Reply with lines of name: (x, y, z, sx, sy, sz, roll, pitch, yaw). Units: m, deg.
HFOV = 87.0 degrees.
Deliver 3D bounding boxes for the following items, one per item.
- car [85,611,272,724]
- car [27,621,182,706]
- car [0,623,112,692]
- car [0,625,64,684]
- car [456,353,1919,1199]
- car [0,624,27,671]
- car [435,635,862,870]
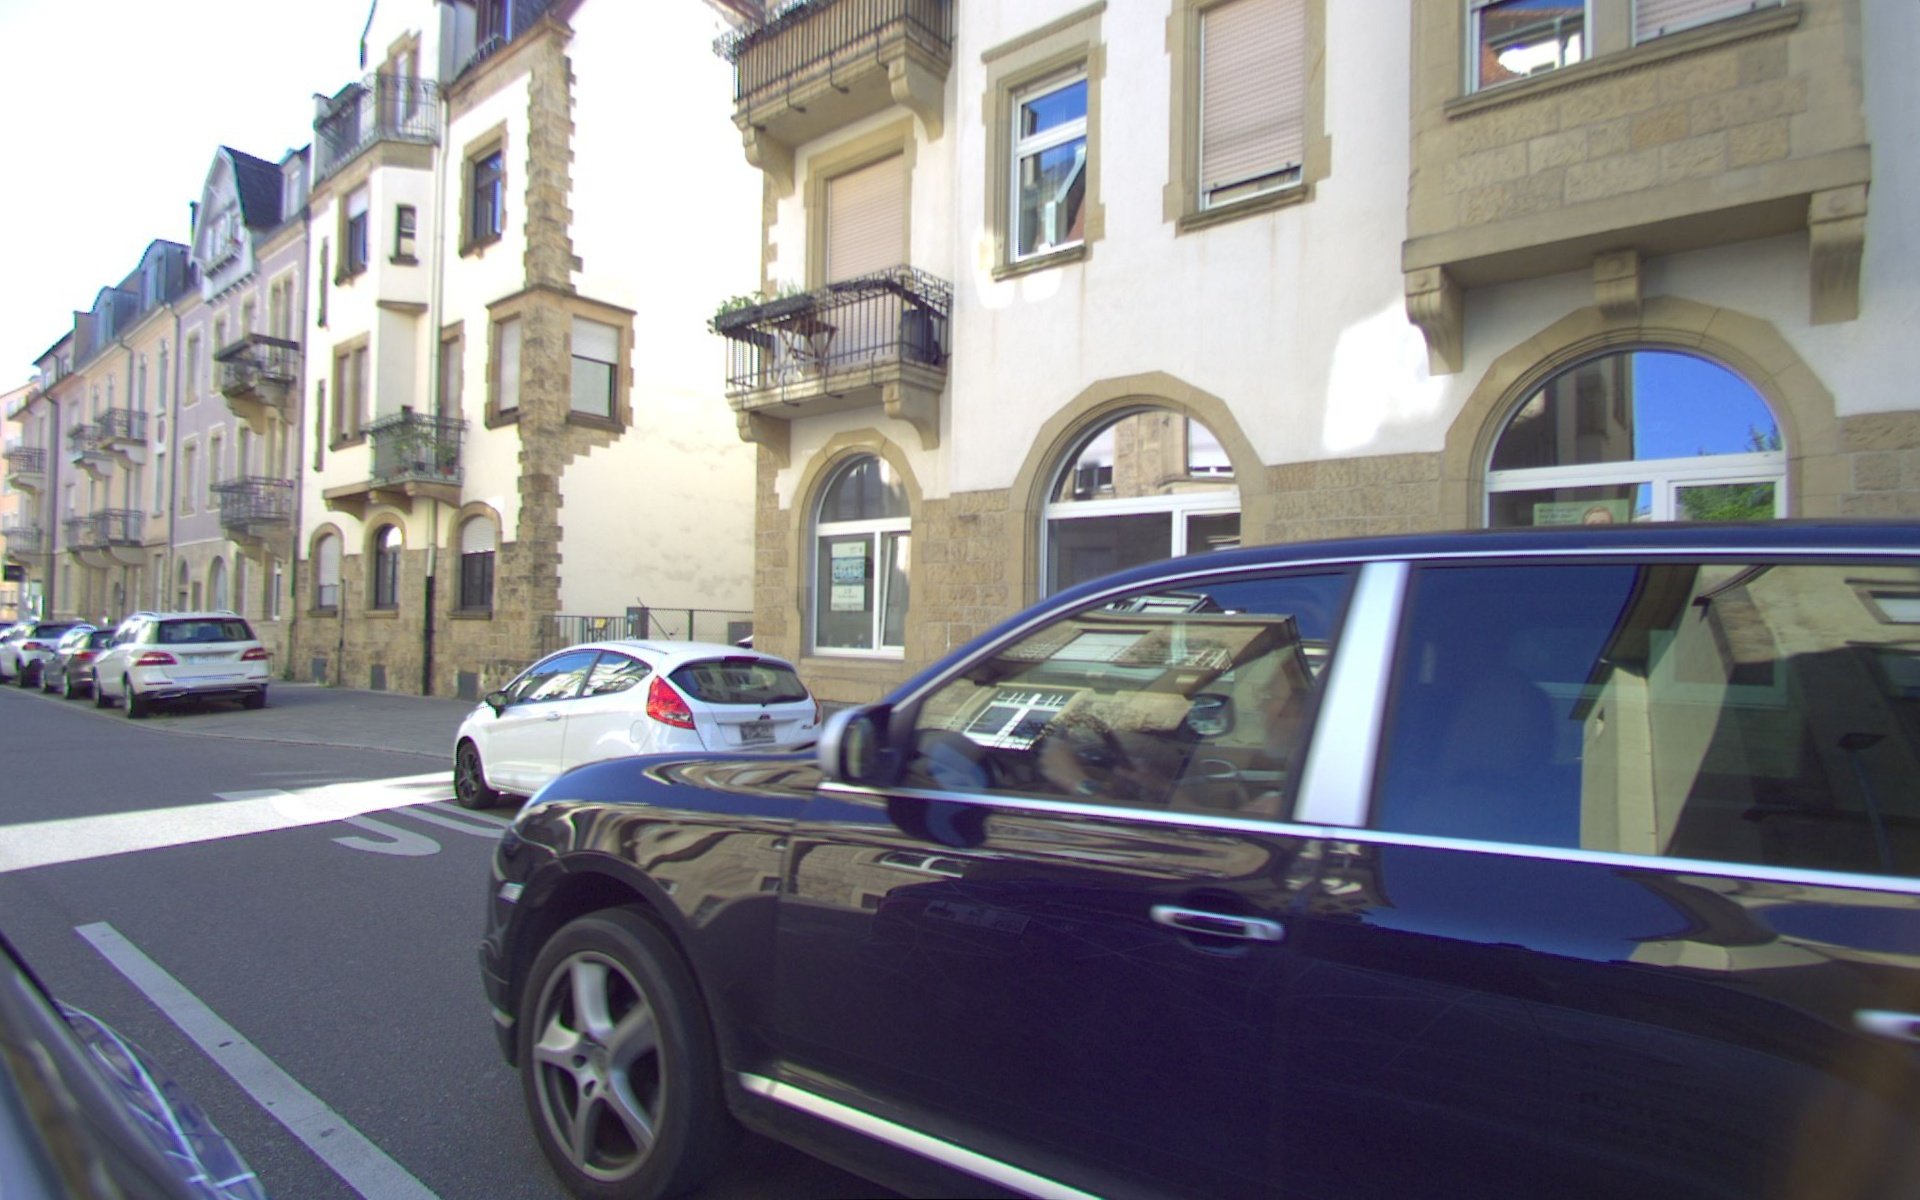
car: (-13.977, 1.093, 18.024, 4.209, 1.740, 1.866, -1, 0, 41)
car: (-18.444, 1.283, 21.756, 4.319, 1.519, 1.866, -1, 2, 41)
car: (-22.948, 1.374, 25.438, 4.319, 1.520, 1.866, -1, 0, 41)
car: (-27.156, 1.507, 28.877, 4.317, 1.511, 1.833, -1, 0, 41)
car: (1.199, 0.649, 2.249, 4.697, 1.707, 2.055, 0, -5, 34)
car: (-33.139, 1.596, 34.225, 4.319, 1.520, 1.866, -1, 0, 41)
car: (-2.638, 1.042, 8.183, 3.642, 1.469, 1.634, -2, -5, 42)
